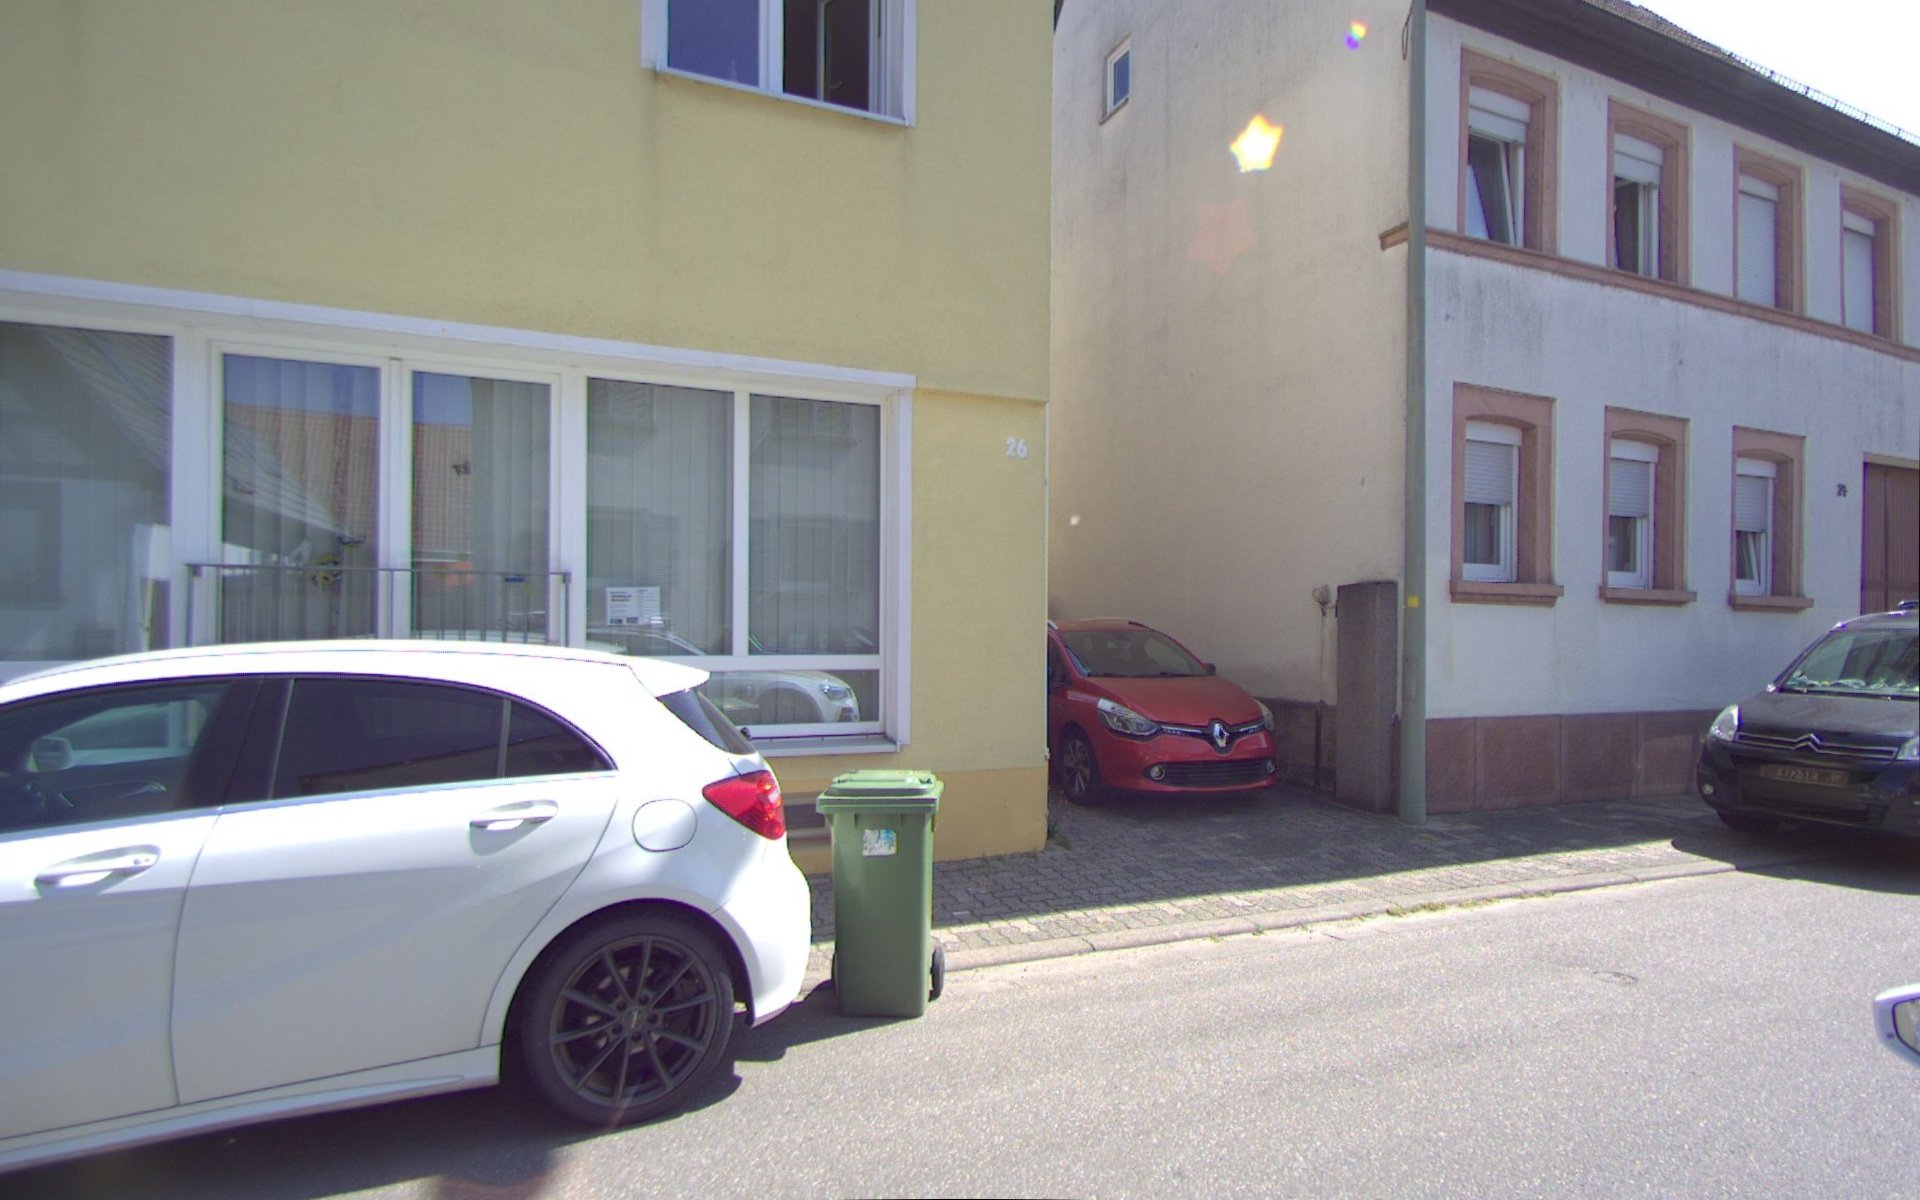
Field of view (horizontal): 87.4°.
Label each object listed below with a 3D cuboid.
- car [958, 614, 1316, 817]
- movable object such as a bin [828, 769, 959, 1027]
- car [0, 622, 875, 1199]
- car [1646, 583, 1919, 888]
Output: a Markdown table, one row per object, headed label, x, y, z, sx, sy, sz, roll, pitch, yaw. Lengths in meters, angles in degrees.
| label | x | y | z | sx | sy | sz | roll | pitch | yaw |
| --- | --- | --- | --- | --- | --- | --- | --- | --- | --- |
| car | 1.393 | 0.885 | 9.375 | 1.649 | 1.477 | 3.742 | 1 | -1 | -20 |
| movable object such as a bin | -0.270 | 1.171 | 4.053 | 0.486 | 0.917 | 0.426 | 1 | -1 | -5 |
| car | -2.564 | 0.827 | 3.216 | 4.215 | 1.483 | 1.828 | 1 | -2 | -27 |
| car | 7.575 | 0.891 | 7.683 | 4.291 | 1.862 | 1.831 | 1 | -2 | -23 |
